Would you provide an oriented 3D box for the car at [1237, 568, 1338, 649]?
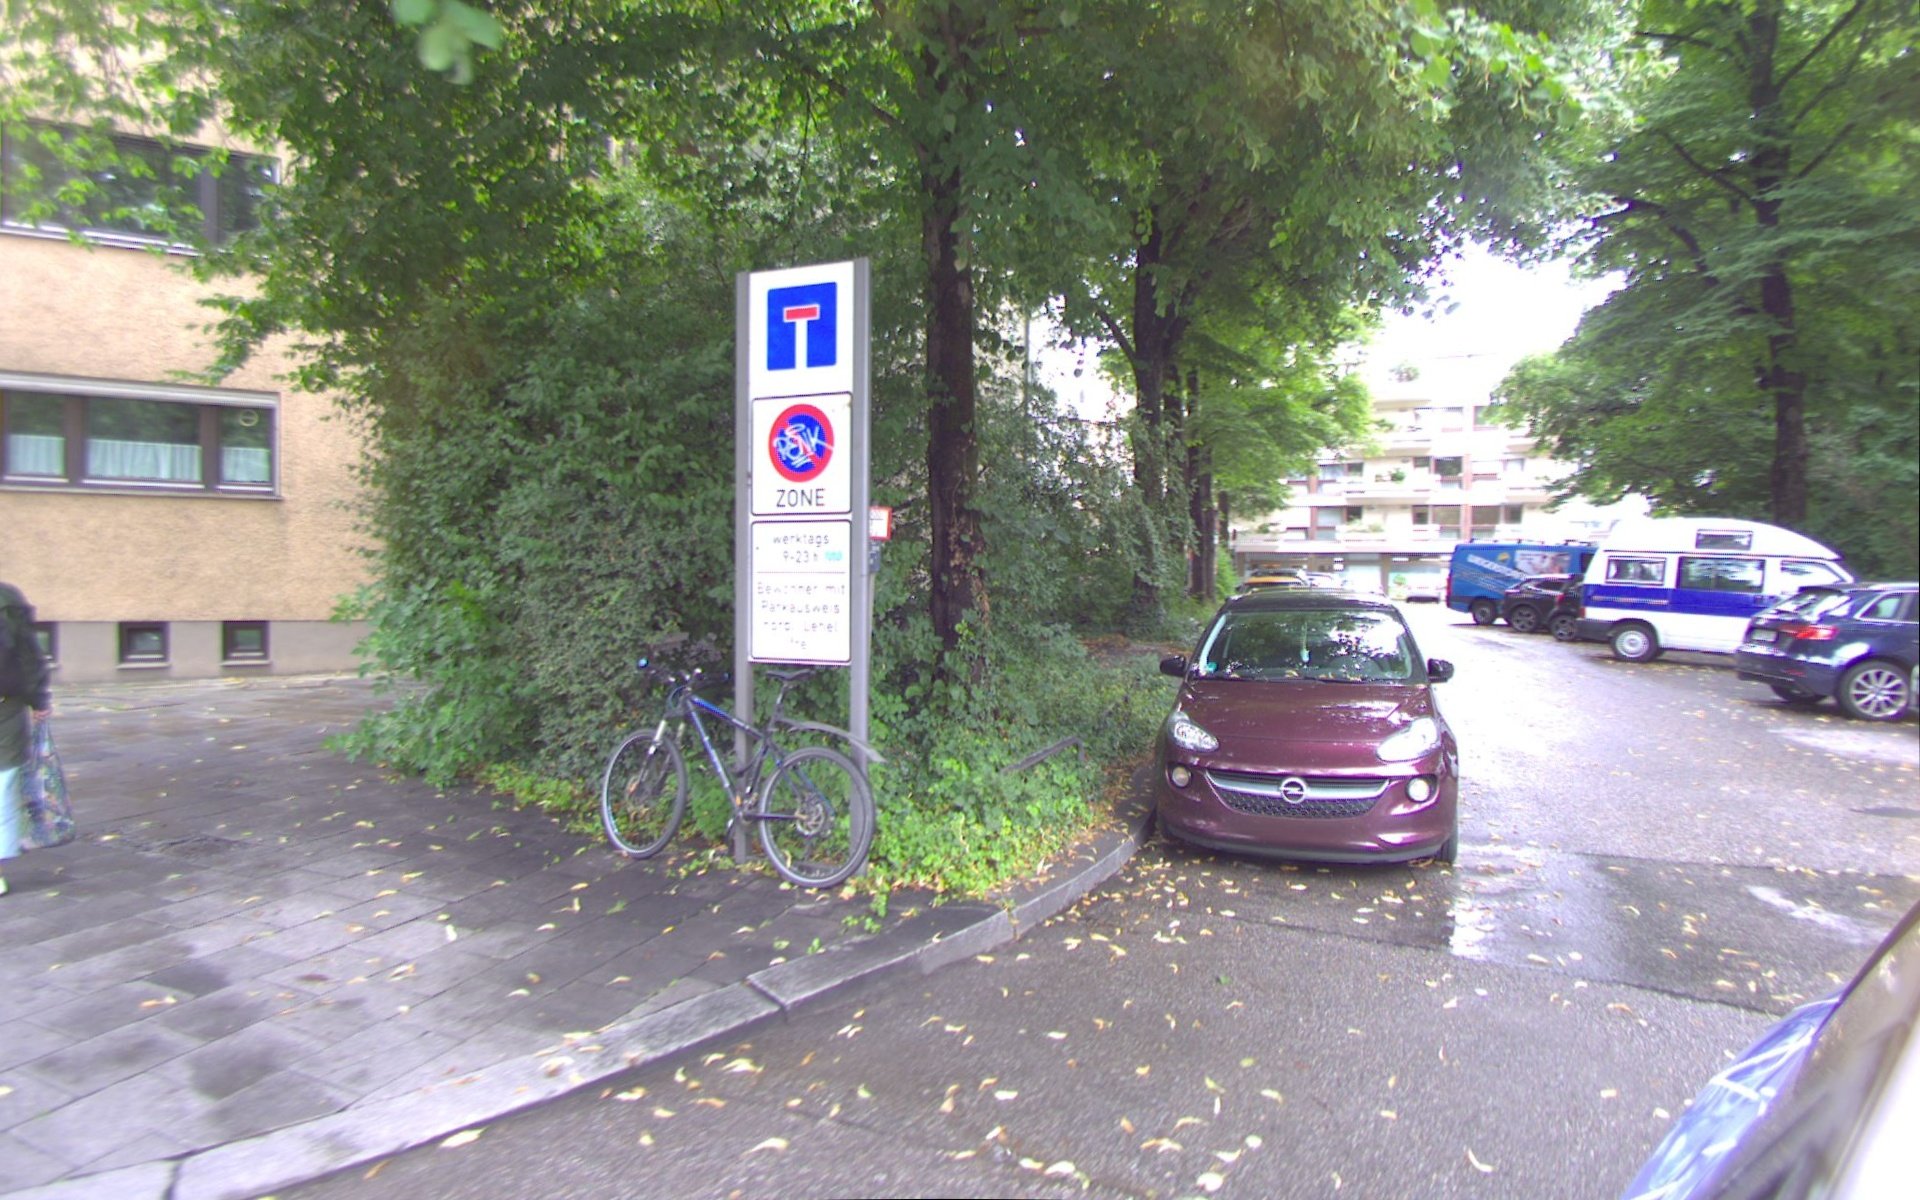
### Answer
[{"bbox_3d":[6.462,0.112,20.286,1.673,1.456,3.761,1,1,15],"label":"car"}]

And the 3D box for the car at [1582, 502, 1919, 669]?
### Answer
[{"bbox_3d":[12.584,-0.261,16.245,4.165,2.342,1.875,1,1,43],"label":"car"}]

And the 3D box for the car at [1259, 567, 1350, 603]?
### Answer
[{"bbox_3d":[15.003,-0.675,44.222,3.639,1.496,1.846,1,1,16],"label":"car"}]

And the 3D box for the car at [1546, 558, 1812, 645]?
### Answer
[{"bbox_3d":[14.787,-0.032,21.032,1.867,1.623,4.110,0,1,-34],"label":"car"}]

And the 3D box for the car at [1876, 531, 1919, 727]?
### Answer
[{"bbox_3d":[10.631,0.296,8.273,4.189,1.773,1.908,1,1,18],"label":"car"}]

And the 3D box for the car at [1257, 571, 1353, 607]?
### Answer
[{"bbox_3d":[14.312,-0.485,42.169,3.639,1.411,1.846,1,1,16],"label":"car"}]

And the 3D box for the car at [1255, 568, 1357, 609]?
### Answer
[{"bbox_3d":[13.387,-0.467,39.382,3.639,1.496,1.846,1,1,16],"label":"car"}]

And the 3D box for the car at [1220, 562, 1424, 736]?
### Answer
[{"bbox_3d":[3.809,0.375,11.002,1.710,1.515,4.024,1,1,17],"label":"car"}]

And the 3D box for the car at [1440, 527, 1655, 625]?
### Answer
[{"bbox_3d":[15.916,-0.663,27.648,1.942,2.441,4.689,0,1,-37],"label":"car"}]

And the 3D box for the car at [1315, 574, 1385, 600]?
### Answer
[{"bbox_3d":[21.925,-0.750,57.020,3.645,1.373,1.843,1,1,20],"label":"car"}]

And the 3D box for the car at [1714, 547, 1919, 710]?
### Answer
[{"bbox_3d":[10.811,0.277,10.639,4.189,1.619,1.908,1,1,18],"label":"car"}]

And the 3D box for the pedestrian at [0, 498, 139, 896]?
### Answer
[{"bbox_3d":[-4.350,0.399,4.525,0.969,1.644,0.668,0,0,22],"label":"pedestrian"}]

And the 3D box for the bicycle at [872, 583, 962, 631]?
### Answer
[{"bbox_3d":[-0.848,0.130,20.111,1.731,0.924,0.532,1,1,10],"label":"bicycle"}]

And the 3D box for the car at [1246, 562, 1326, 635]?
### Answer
[{"bbox_3d":[7.958,-0.091,24.657,1.676,1.618,4.083,1,1,19],"label":"car"}]

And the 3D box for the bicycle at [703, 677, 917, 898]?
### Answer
[{"bbox_3d":[-0.727,0.848,4.788,1.069,0.891,0.247,1,1,28],"label":"bicycle"}]

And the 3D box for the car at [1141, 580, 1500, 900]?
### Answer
[{"bbox_3d":[2.433,0.628,6.871,1.713,1.515,3.683,1,1,21],"label":"car"}]

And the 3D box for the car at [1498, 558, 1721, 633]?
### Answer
[{"bbox_3d":[15.436,-0.150,24.257,1.867,1.623,4.110,0,1,-34],"label":"car"}]
